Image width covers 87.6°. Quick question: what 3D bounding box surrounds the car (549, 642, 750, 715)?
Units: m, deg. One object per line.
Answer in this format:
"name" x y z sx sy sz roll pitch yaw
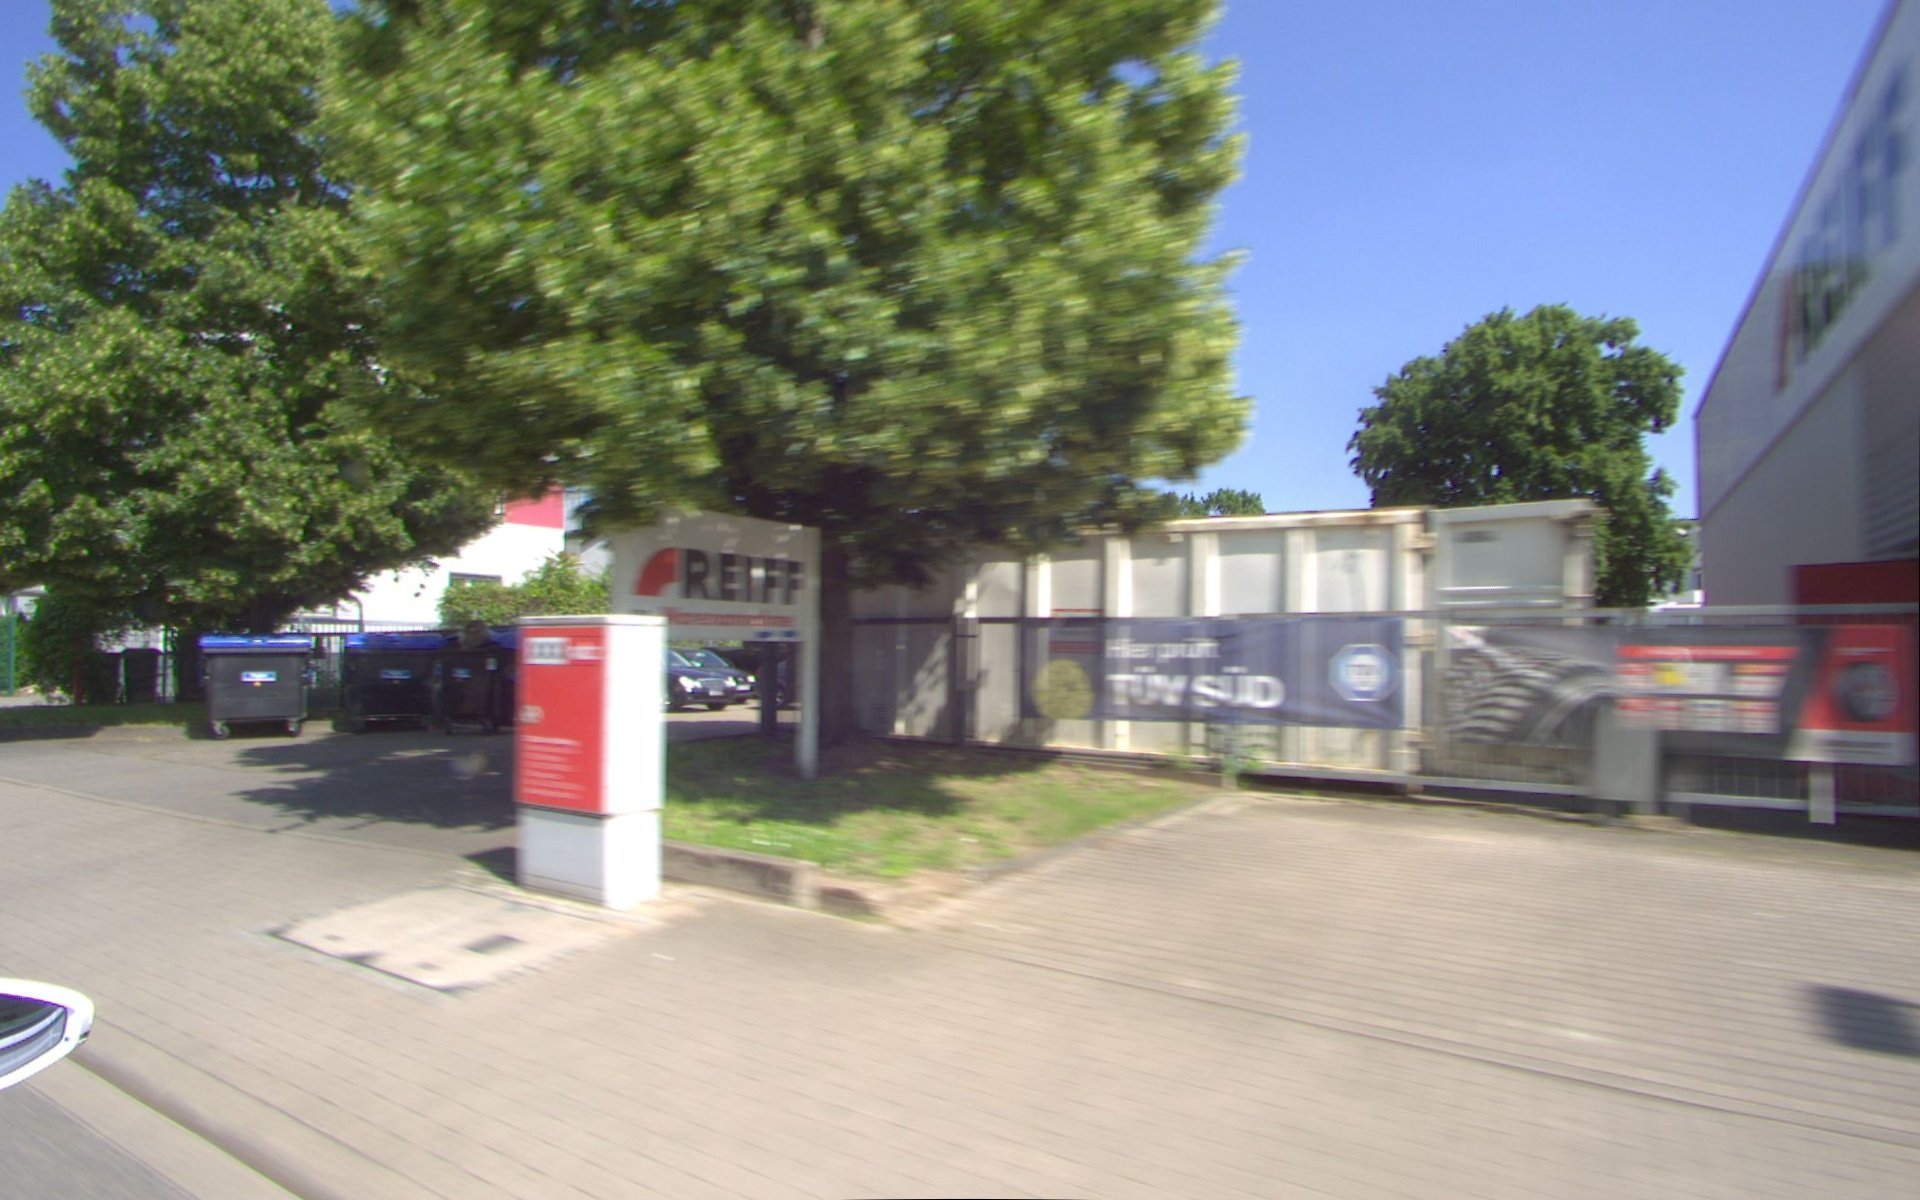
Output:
"car" -7.276 1.750 23.278 4.700 1.396 1.884 0 -1 33

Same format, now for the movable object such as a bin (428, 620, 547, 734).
"movable object such as a bin" -6.831 1.118 14.497 1.301 1.565 0.978 -3 -4 29

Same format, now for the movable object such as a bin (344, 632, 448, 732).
"movable object such as a bin" -8.529 1.230 15.150 1.303 1.447 0.880 2 -4 -33

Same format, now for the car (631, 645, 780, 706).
"car" -6.715 1.944 26.375 3.747 1.372 1.713 1 -1 33

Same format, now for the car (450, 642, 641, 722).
"car" -8.670 1.645 20.871 3.944 1.478 1.740 -1 -3 33

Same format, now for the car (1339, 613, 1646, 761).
"car" 8.094 1.253 15.377 3.943 1.952 1.830 0 -3 33

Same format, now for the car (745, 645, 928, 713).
"car" -2.969 1.815 23.750 4.175 1.478 1.740 -2 -2 33

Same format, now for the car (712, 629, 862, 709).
"car" -4.848 1.861 27.915 3.990 1.947 1.713 1 -1 33

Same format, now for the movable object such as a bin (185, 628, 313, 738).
"movable object such as a bin" -9.843 1.139 13.930 1.370 1.447 0.985 2 -4 -33
